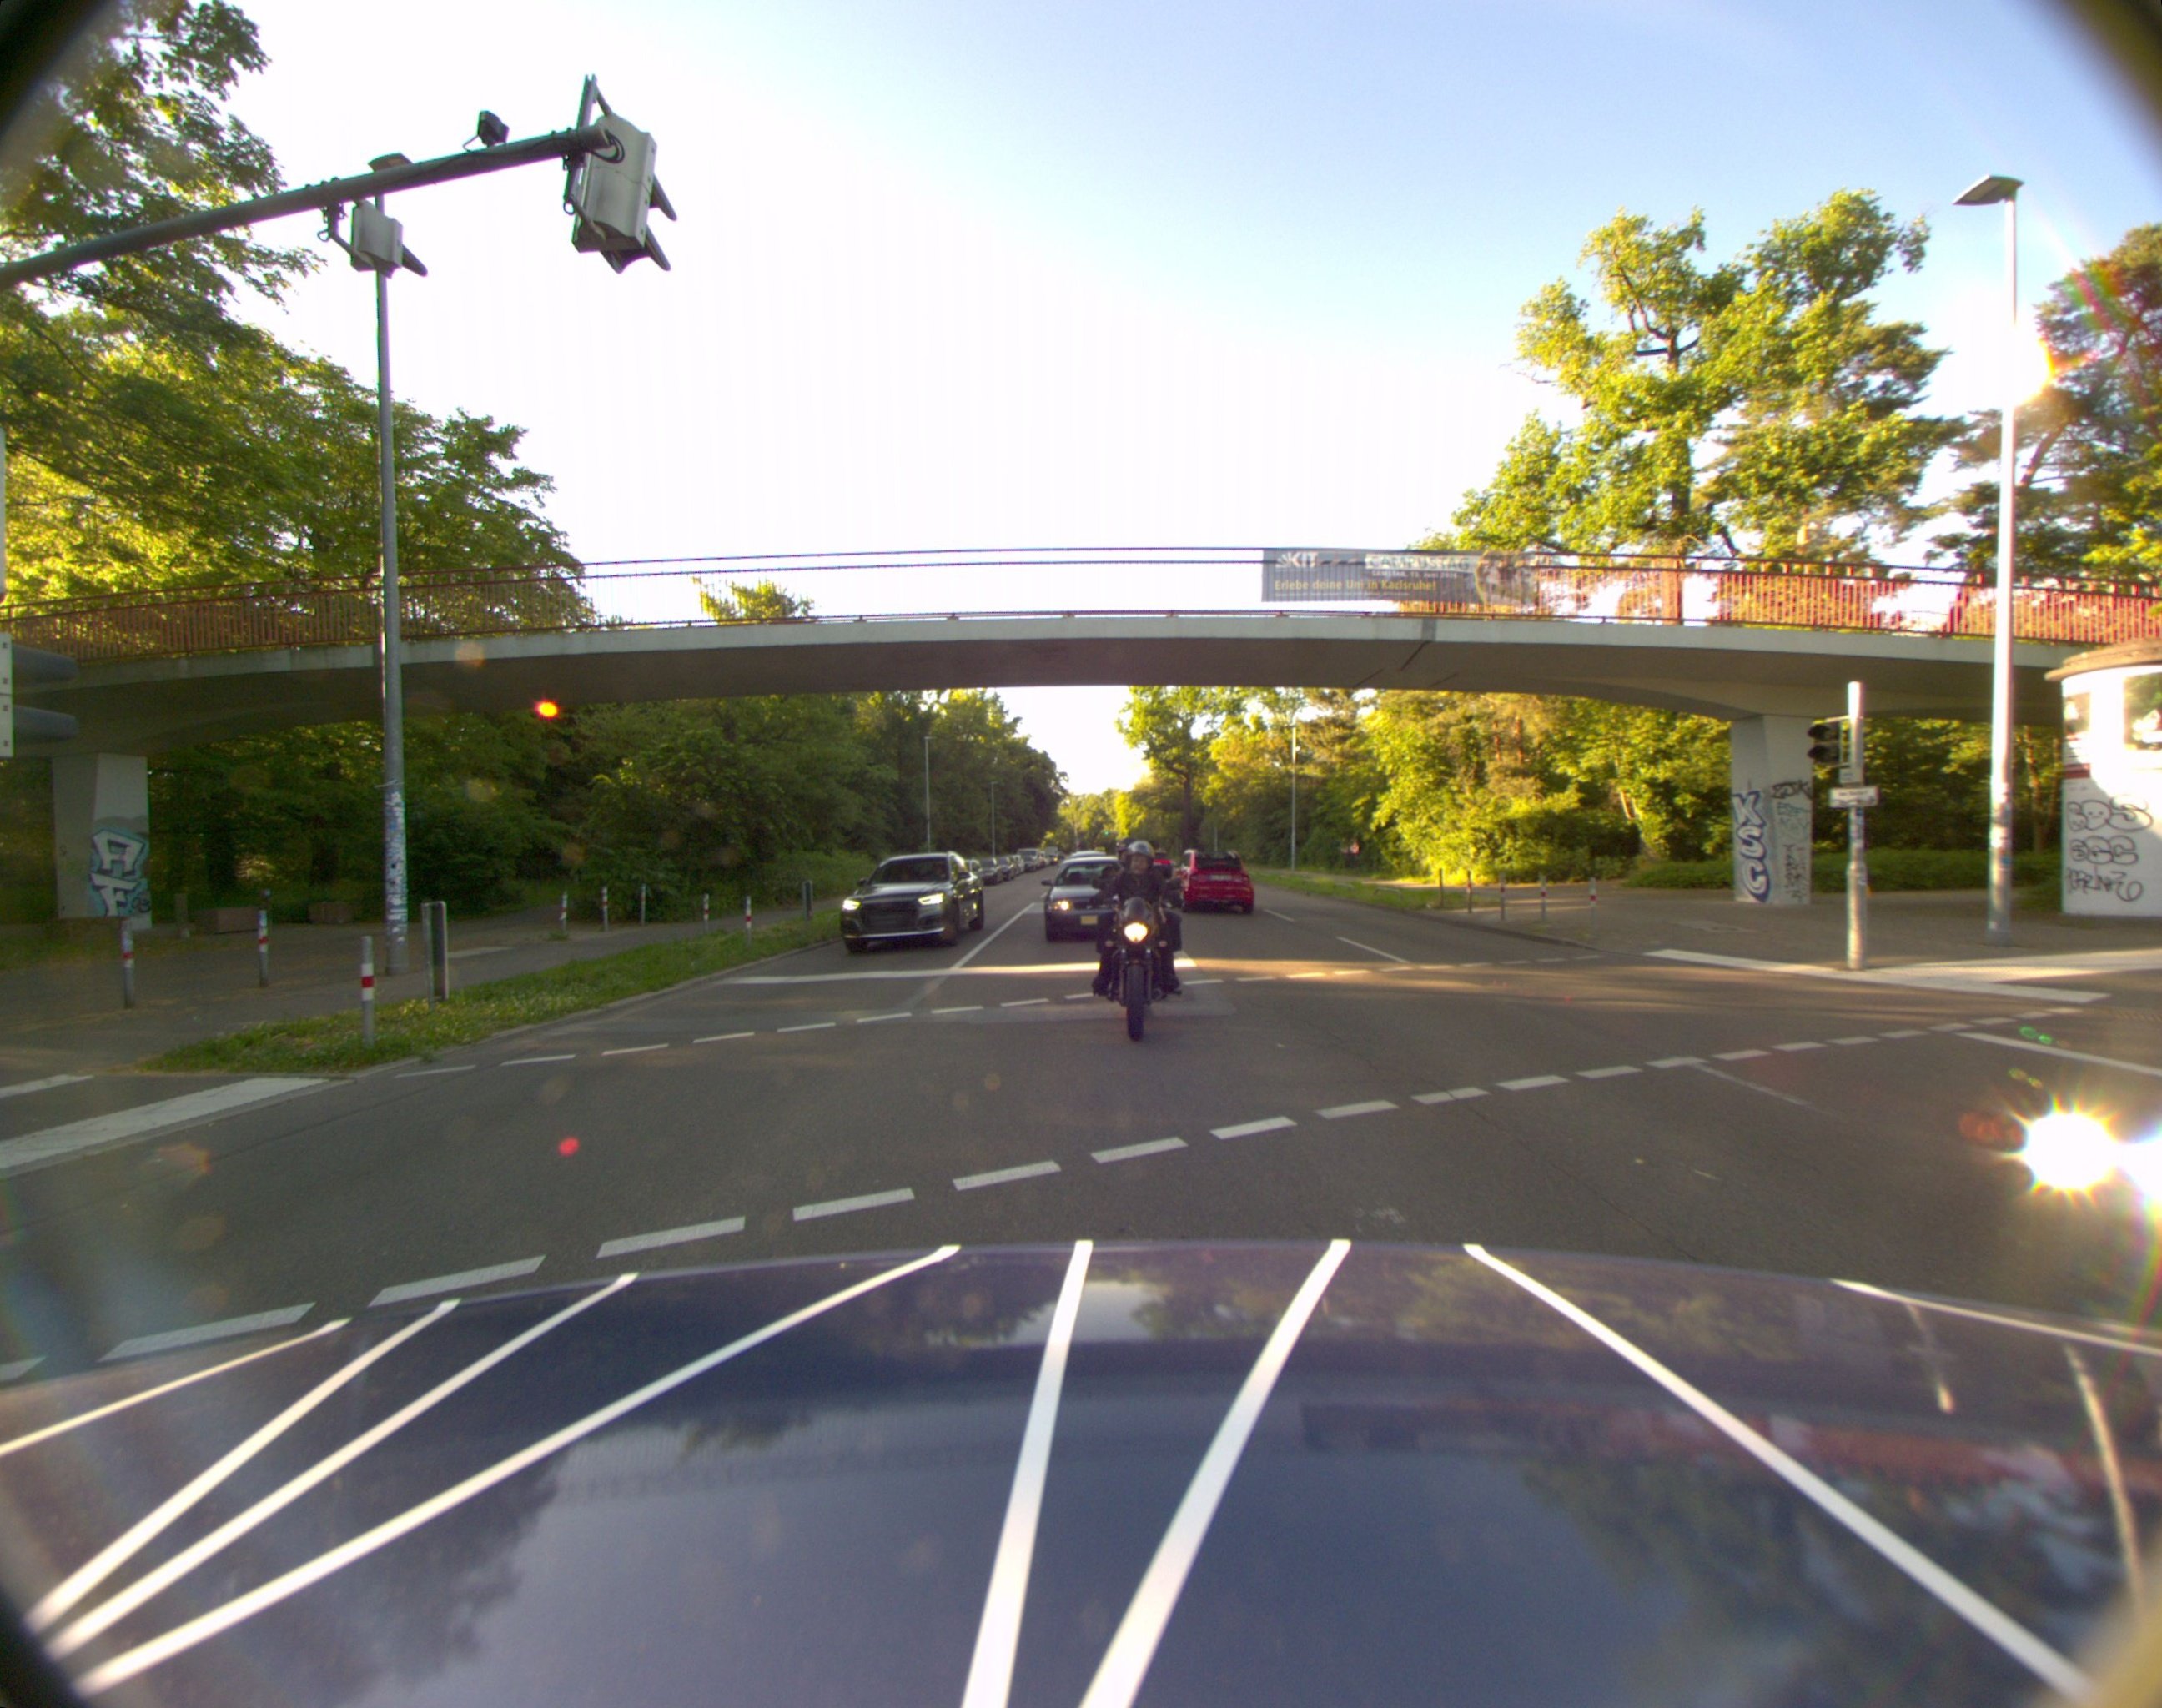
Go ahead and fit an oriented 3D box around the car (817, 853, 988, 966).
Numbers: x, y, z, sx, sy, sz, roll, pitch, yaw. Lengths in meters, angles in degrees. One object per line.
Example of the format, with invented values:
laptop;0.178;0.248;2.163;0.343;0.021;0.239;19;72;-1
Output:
car;-3.091;0.880;14.201;1.993;1.598;4.362;-4;1;1

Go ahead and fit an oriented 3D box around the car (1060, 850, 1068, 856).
car;-3.643;-0.232;162.956;1.736;1.237;4.000;-1;1;1

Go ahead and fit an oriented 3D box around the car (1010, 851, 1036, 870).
car;-4.689;0.491;62.404;1.737;1.499;4.395;0;1;1

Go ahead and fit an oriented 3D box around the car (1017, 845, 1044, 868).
car;-4.571;0.206;69.230;2.017;1.964;5.041;0;1;1

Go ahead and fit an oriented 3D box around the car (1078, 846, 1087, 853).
car;0.411;-0.943;168.742;1.894;1.491;4.395;0;1;1

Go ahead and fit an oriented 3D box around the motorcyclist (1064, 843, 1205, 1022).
motorcyclist;0.517;0.641;7.025;1.137;1.420;1.566;-1;3;6

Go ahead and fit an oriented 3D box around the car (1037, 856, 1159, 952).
car;0.306;0.798;13.970;1.867;1.381;4.000;-3;1;1

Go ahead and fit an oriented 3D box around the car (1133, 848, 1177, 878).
car;3.922;0.431;41.012;1.966;1.497;4.646;0;1;1

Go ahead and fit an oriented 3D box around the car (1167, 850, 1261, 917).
car;3.202;0.660;18.932;1.755;1.448;3.639;1;1;1

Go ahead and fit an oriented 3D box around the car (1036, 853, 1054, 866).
car;-4.357;0.662;92.793;1.894;1.537;4.395;0;1;1

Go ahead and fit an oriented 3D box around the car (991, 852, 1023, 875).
car;-5.022;0.633;52.035;1.737;1.499;4.225;0;1;1

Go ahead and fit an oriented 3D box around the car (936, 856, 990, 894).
car;-5.209;0.885;33.863;1.720;1.499;3.975;0;1;1

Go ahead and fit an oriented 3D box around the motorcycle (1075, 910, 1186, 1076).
motorcycle;0.530;1.129;6.977;0.807;0.908;2.713;-1;3;7

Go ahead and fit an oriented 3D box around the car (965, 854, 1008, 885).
car;-5.041;0.791;40.902;1.737;1.499;4.153;0;1;1

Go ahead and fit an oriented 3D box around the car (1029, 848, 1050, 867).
car;-4.439;0.313;81.951;1.951;1.964;4.395;0;1;1

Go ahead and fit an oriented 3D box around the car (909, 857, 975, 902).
car;-5.218;0.909;29.080;1.694;1.499;4.125;-1;1;1

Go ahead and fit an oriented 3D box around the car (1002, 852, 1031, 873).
car;-4.831;0.597;57.384;1.737;1.499;4.395;0;1;1

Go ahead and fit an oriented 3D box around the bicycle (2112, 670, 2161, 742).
bicycle;24.081;-3.122;16.202;2.445;1.365;1.052;5;2;4

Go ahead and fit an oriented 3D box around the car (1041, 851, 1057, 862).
car;-4.088;0.304;97.847;1.915;1.213;3.999;-1;1;0

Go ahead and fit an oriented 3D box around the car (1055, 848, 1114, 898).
car;0.134;0.629;29.007;1.998;1.625;5.885;-1;1;0

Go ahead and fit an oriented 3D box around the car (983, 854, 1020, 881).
car;-4.808;0.784;46.416;1.704;1.499;4.136;0;1;1

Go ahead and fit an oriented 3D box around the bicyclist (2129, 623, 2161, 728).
bicyclist;24.041;-3.837;16.016;1.682;2.157;1.412;4;2;3

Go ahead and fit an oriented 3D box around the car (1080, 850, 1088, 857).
car;0.546;-0.152;135.572;1.465;1.237;4.000;-1;1;1
